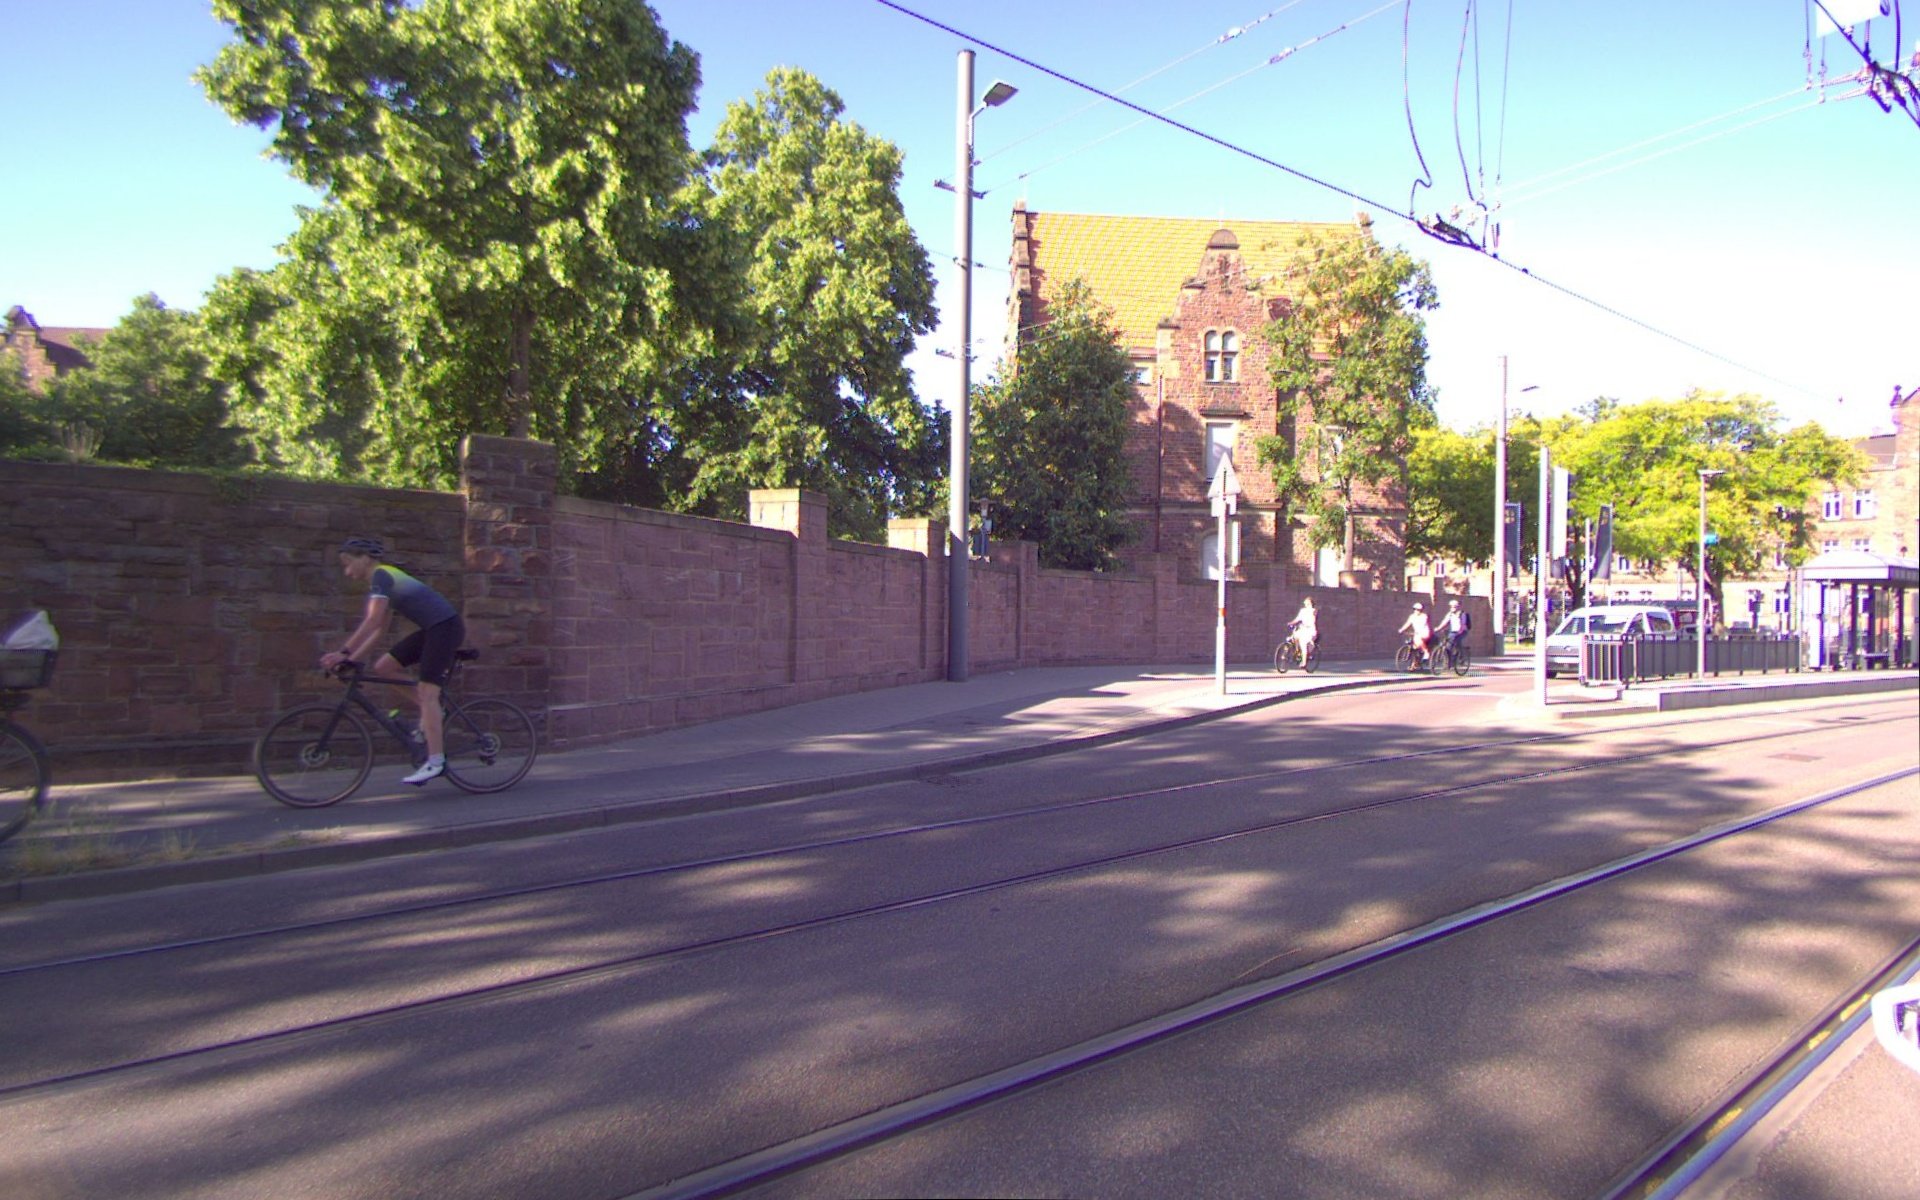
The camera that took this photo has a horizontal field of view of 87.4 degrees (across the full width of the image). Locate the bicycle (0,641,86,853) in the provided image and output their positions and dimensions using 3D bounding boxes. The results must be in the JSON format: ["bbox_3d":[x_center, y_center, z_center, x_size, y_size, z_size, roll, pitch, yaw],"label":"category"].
[{"bbox_3d":[-5.874,0.778,5.145,2.045,1.103,0.679,1,-1,-38],"label":"bicycle"}]

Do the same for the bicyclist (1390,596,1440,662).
[{"bbox_3d":[12.074,0.765,26.643,1.220,1.697,0.646,0,2,-34],"label":"bicyclist"}]

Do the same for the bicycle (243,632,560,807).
[{"bbox_3d":[-3.907,0.829,7.150,1.835,1.103,0.681,4,-3,-32],"label":"bicycle"}]

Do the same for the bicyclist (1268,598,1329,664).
[{"bbox_3d":[7.923,0.724,23.481,1.178,1.490,0.752,2,0,-33],"label":"bicyclist"}]

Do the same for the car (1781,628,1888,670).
[{"bbox_3d":[31.674,1.727,36.359,4.446,1.401,1.788,1,-1,-33],"label":"car"}]

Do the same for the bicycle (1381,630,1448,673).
[{"bbox_3d":[12.058,1.346,26.631,1.994,1.087,0.665,1,1,-34],"label":"bicycle"}]

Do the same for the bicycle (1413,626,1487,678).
[{"bbox_3d":[12.554,1.316,25.725,2.067,1.247,0.772,1,-1,-34],"label":"bicycle"}]

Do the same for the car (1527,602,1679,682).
[{"bbox_3d":[16.041,1.015,25.000,4.215,1.812,1.814,2,0,-37],"label":"car"}]

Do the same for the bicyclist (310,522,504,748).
[{"bbox_3d":[-3.905,0.241,7.138,1.138,1.478,0.650,1,0,-30],"label":"bicyclist"}]

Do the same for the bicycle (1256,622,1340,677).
[{"bbox_3d":[7.917,1.135,23.490,1.932,1.214,0.810,2,0,-33],"label":"bicycle"}]

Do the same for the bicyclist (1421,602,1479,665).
[{"bbox_3d":[12.558,0.849,25.727,1.334,1.557,0.756,1,-1,-34],"label":"bicyclist"}]
